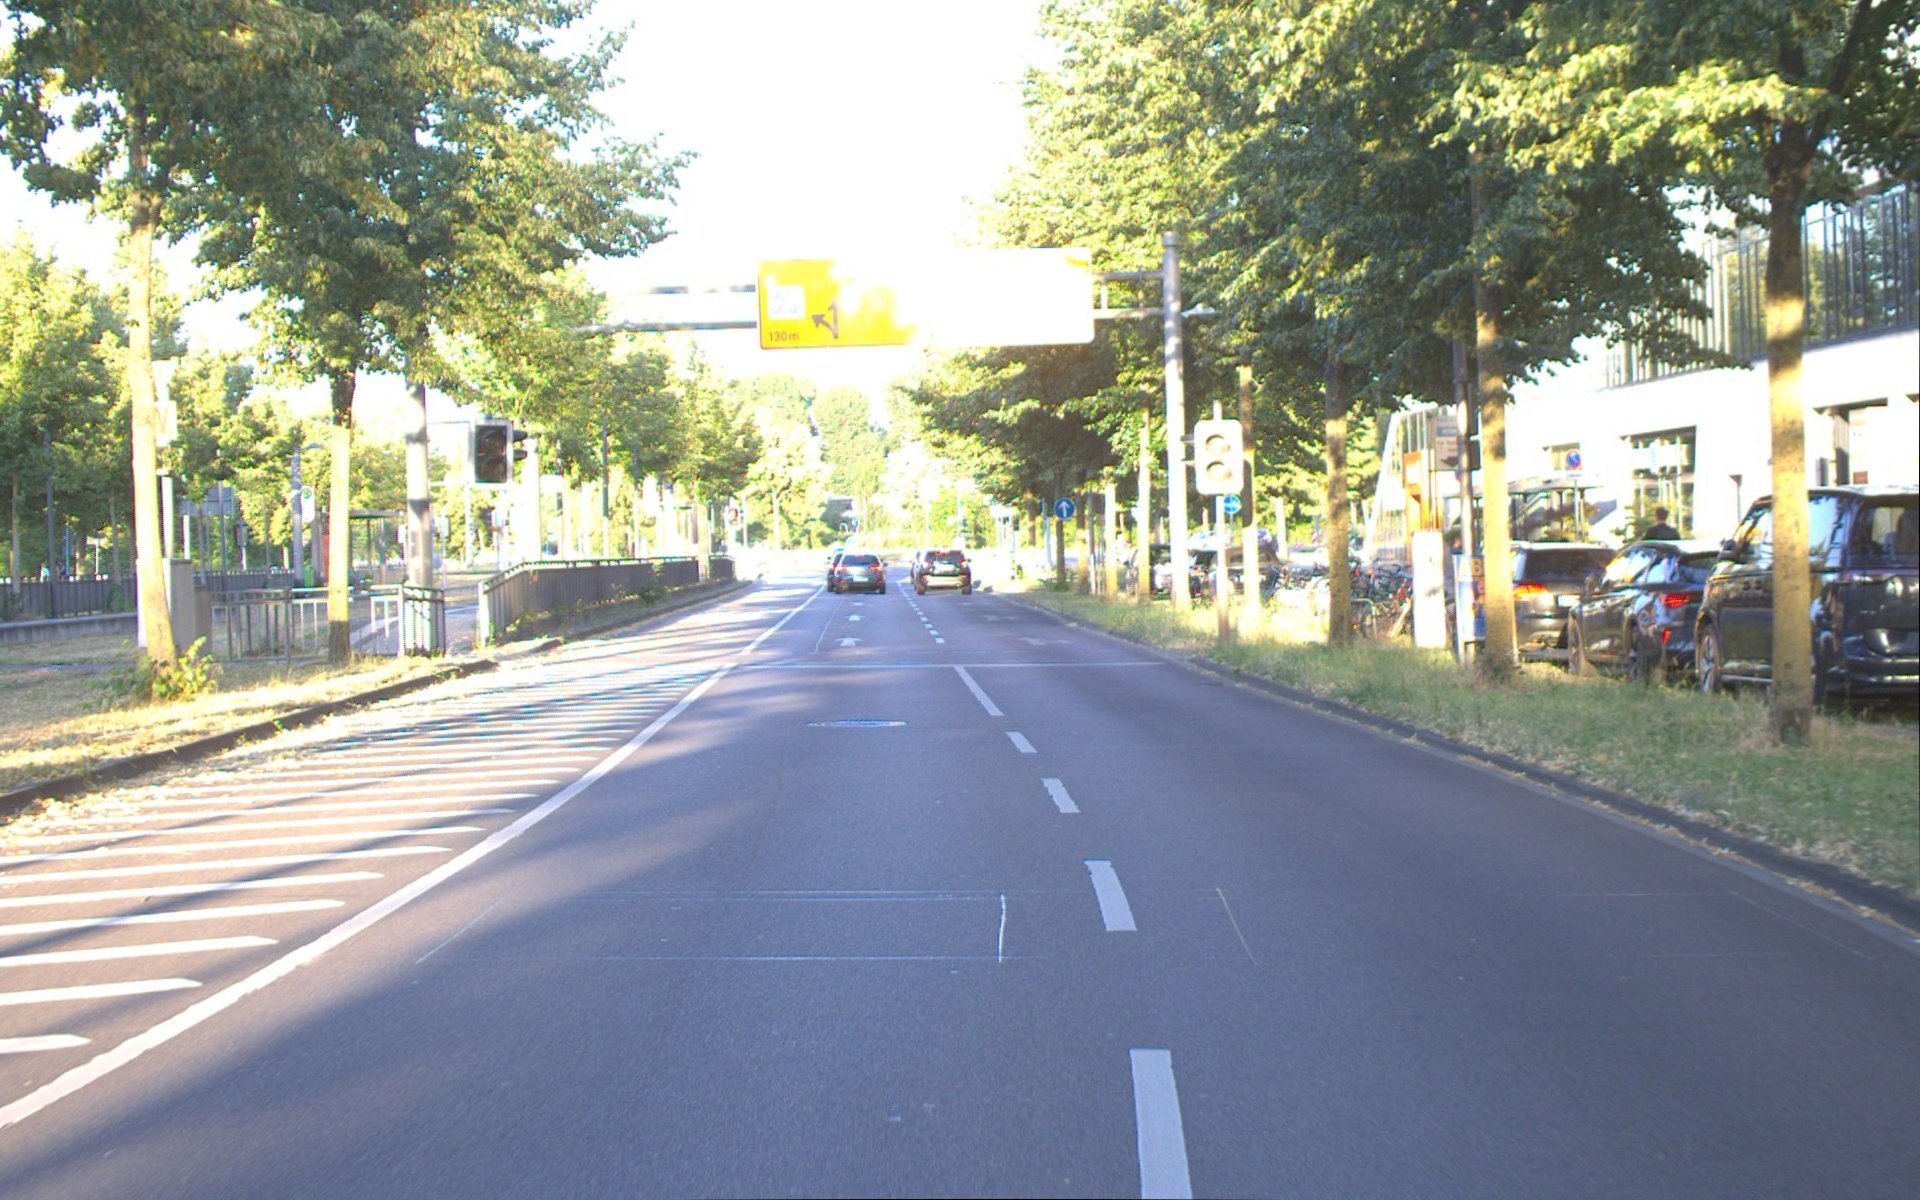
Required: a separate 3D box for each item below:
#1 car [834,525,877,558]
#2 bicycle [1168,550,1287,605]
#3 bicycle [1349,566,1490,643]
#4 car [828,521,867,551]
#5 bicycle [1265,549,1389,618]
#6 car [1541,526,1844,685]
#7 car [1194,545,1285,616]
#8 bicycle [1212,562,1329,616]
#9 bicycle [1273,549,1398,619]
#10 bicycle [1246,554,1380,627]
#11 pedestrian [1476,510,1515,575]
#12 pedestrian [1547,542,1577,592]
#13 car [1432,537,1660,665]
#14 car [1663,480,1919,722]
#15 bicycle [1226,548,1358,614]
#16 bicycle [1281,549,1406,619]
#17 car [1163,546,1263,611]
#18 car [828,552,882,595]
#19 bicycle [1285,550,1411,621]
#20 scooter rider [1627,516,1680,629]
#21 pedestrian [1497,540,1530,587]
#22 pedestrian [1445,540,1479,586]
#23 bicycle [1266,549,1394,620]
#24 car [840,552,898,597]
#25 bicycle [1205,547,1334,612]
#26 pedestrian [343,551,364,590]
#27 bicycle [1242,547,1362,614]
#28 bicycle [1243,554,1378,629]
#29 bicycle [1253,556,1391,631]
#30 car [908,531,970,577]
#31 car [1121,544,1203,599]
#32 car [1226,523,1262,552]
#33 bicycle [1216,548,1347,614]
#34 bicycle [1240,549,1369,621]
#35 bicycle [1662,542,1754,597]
[{"bbox_3d":[-4.884,-2.714,160.057,1.911,1.481,4.000,-1,1,-2],"label":"car"},{"bbox_3d":[5.013,-0.417,64.430,2.142,0.936,0.443,2,1,-8],"label":"bicycle"},{"bbox_3d":[6.740,0.066,50.427,1.941,1.050,0.545,2,1,-2],"label":"bicycle"},{"bbox_3d":[-5.799,-3.278,176.835,1.911,1.481,4.000,-1,1,-2],"label":"car"},{"bbox_3d":[6.028,-0.276,56.487,1.941,1.050,0.414,2,1,-9],"label":"bicycle"},{"bbox_3d":[7.344,0.019,34.941,1.809,1.466,4.666,-1,1,-3],"label":"car"},{"bbox_3d":[6.004,-0.446,74.236,1.575,1.467,3.882,-1,1,-1],"label":"car"},{"bbox_3d":[5.915,-0.213,65.552,2.142,0.936,0.443,2,1,-8],"label":"bicycle"},{"bbox_3d":[6.104,-0.259,55.957,1.941,1.050,0.414,2,1,-9],"label":"bicycle"},{"bbox_3d":[5.430,-0.143,52.910,1.941,1.050,0.545,2,1,-12],"label":"bicycle"},{"bbox_3d":[14.356,-1.545,92.185,0.703,1.731,0.689,-2,1,-31],"label":"pedestrian"},{"bbox_3d":[14.755,-0.812,84.291,0.571,1.191,0.806,-1,1,1],"label":"pedestrian"},{"bbox_3d":[6.963,-0.018,41.304,1.869,1.406,4.646,-2,1,-1],"label":"car"},{"bbox_3d":[7.512,-0.042,28.796,1.993,1.845,4.666,-1,1,-3],"label":"car"},{"bbox_3d":[5.688,-0.327,58.887,2.142,1.050,0.571,2,1,-8],"label":"bicycle"},{"bbox_3d":[6.184,-0.258,55.424,1.941,1.050,0.348,2,1,-9],"label":"bicycle"},{"bbox_3d":[5.937,-0.519,81.076,1.777,1.467,4.289,-1,1,-3],"label":"car"},{"bbox_3d":[-3.835,-0.985,125.044,1.911,1.481,4.000,-1,1,-2],"label":"car"},{"bbox_3d":[6.219,-0.234,55.077,1.941,1.050,0.314,2,1,-9],"label":"bicycle"},{"bbox_3d":[10.150,-0.411,50.343,0.525,1.633,0.832,-1,1,-4],"label":"scooter rider"},{"bbox_3d":[15.442,-1.023,95.929,0.579,1.278,0.739,-2,1,-20],"label":"pedestrian"},{"bbox_3d":[14.048,-1.037,96.228,0.625,1.278,0.717,-2,1,-23],"label":"pedestrian"},{"bbox_3d":[5.875,-0.247,54.633,1.941,1.050,0.409,2,1,-9],"label":"bicycle"},{"bbox_3d":[-3.155,-0.903,118.436,1.911,1.481,4.000,-1,1,-2],"label":"car"},{"bbox_3d":[5.439,-0.363,60.366,2.142,1.050,0.571,2,1,-8],"label":"bicycle"},{"bbox_3d":[-20.496,-0.993,116.128,0.614,1.315,0.745,-1,1,-5],"label":"pedestrian"},{"bbox_3d":[5.792,-0.328,58.221,1.941,1.050,0.404,2,1,-8],"label":"bicycle"},{"bbox_3d":[5.314,-0.126,52.133,1.941,1.050,0.545,2,1,-16],"label":"bicycle"},{"bbox_3d":[5.429,-0.094,51.564,1.941,1.050,0.545,2,1,-16],"label":"bicycle"},{"bbox_3d":[-0.712,-1.525,114.473,1.911,1.481,4.000,-1,1,-2],"label":"car"},{"bbox_3d":[5.638,-0.814,96.235,1.756,1.461,4.159,-1,1,-4],"label":"car"},{"bbox_3d":[17.421,-3.856,210.768,1.994,1.722,3.999,-1,1,8],"label":"car"},{"bbox_3d":[5.572,-0.328,59.613,2.142,1.050,0.562,2,1,-8],"label":"bicycle"},{"bbox_3d":[5.421,-0.240,54.117,1.941,1.050,0.409,2,1,-9],"label":"bicycle"},{"bbox_3d":[15.626,-0.633,71.823,1.784,1.100,0.509,-1,1,-6],"label":"bicycle"}]
